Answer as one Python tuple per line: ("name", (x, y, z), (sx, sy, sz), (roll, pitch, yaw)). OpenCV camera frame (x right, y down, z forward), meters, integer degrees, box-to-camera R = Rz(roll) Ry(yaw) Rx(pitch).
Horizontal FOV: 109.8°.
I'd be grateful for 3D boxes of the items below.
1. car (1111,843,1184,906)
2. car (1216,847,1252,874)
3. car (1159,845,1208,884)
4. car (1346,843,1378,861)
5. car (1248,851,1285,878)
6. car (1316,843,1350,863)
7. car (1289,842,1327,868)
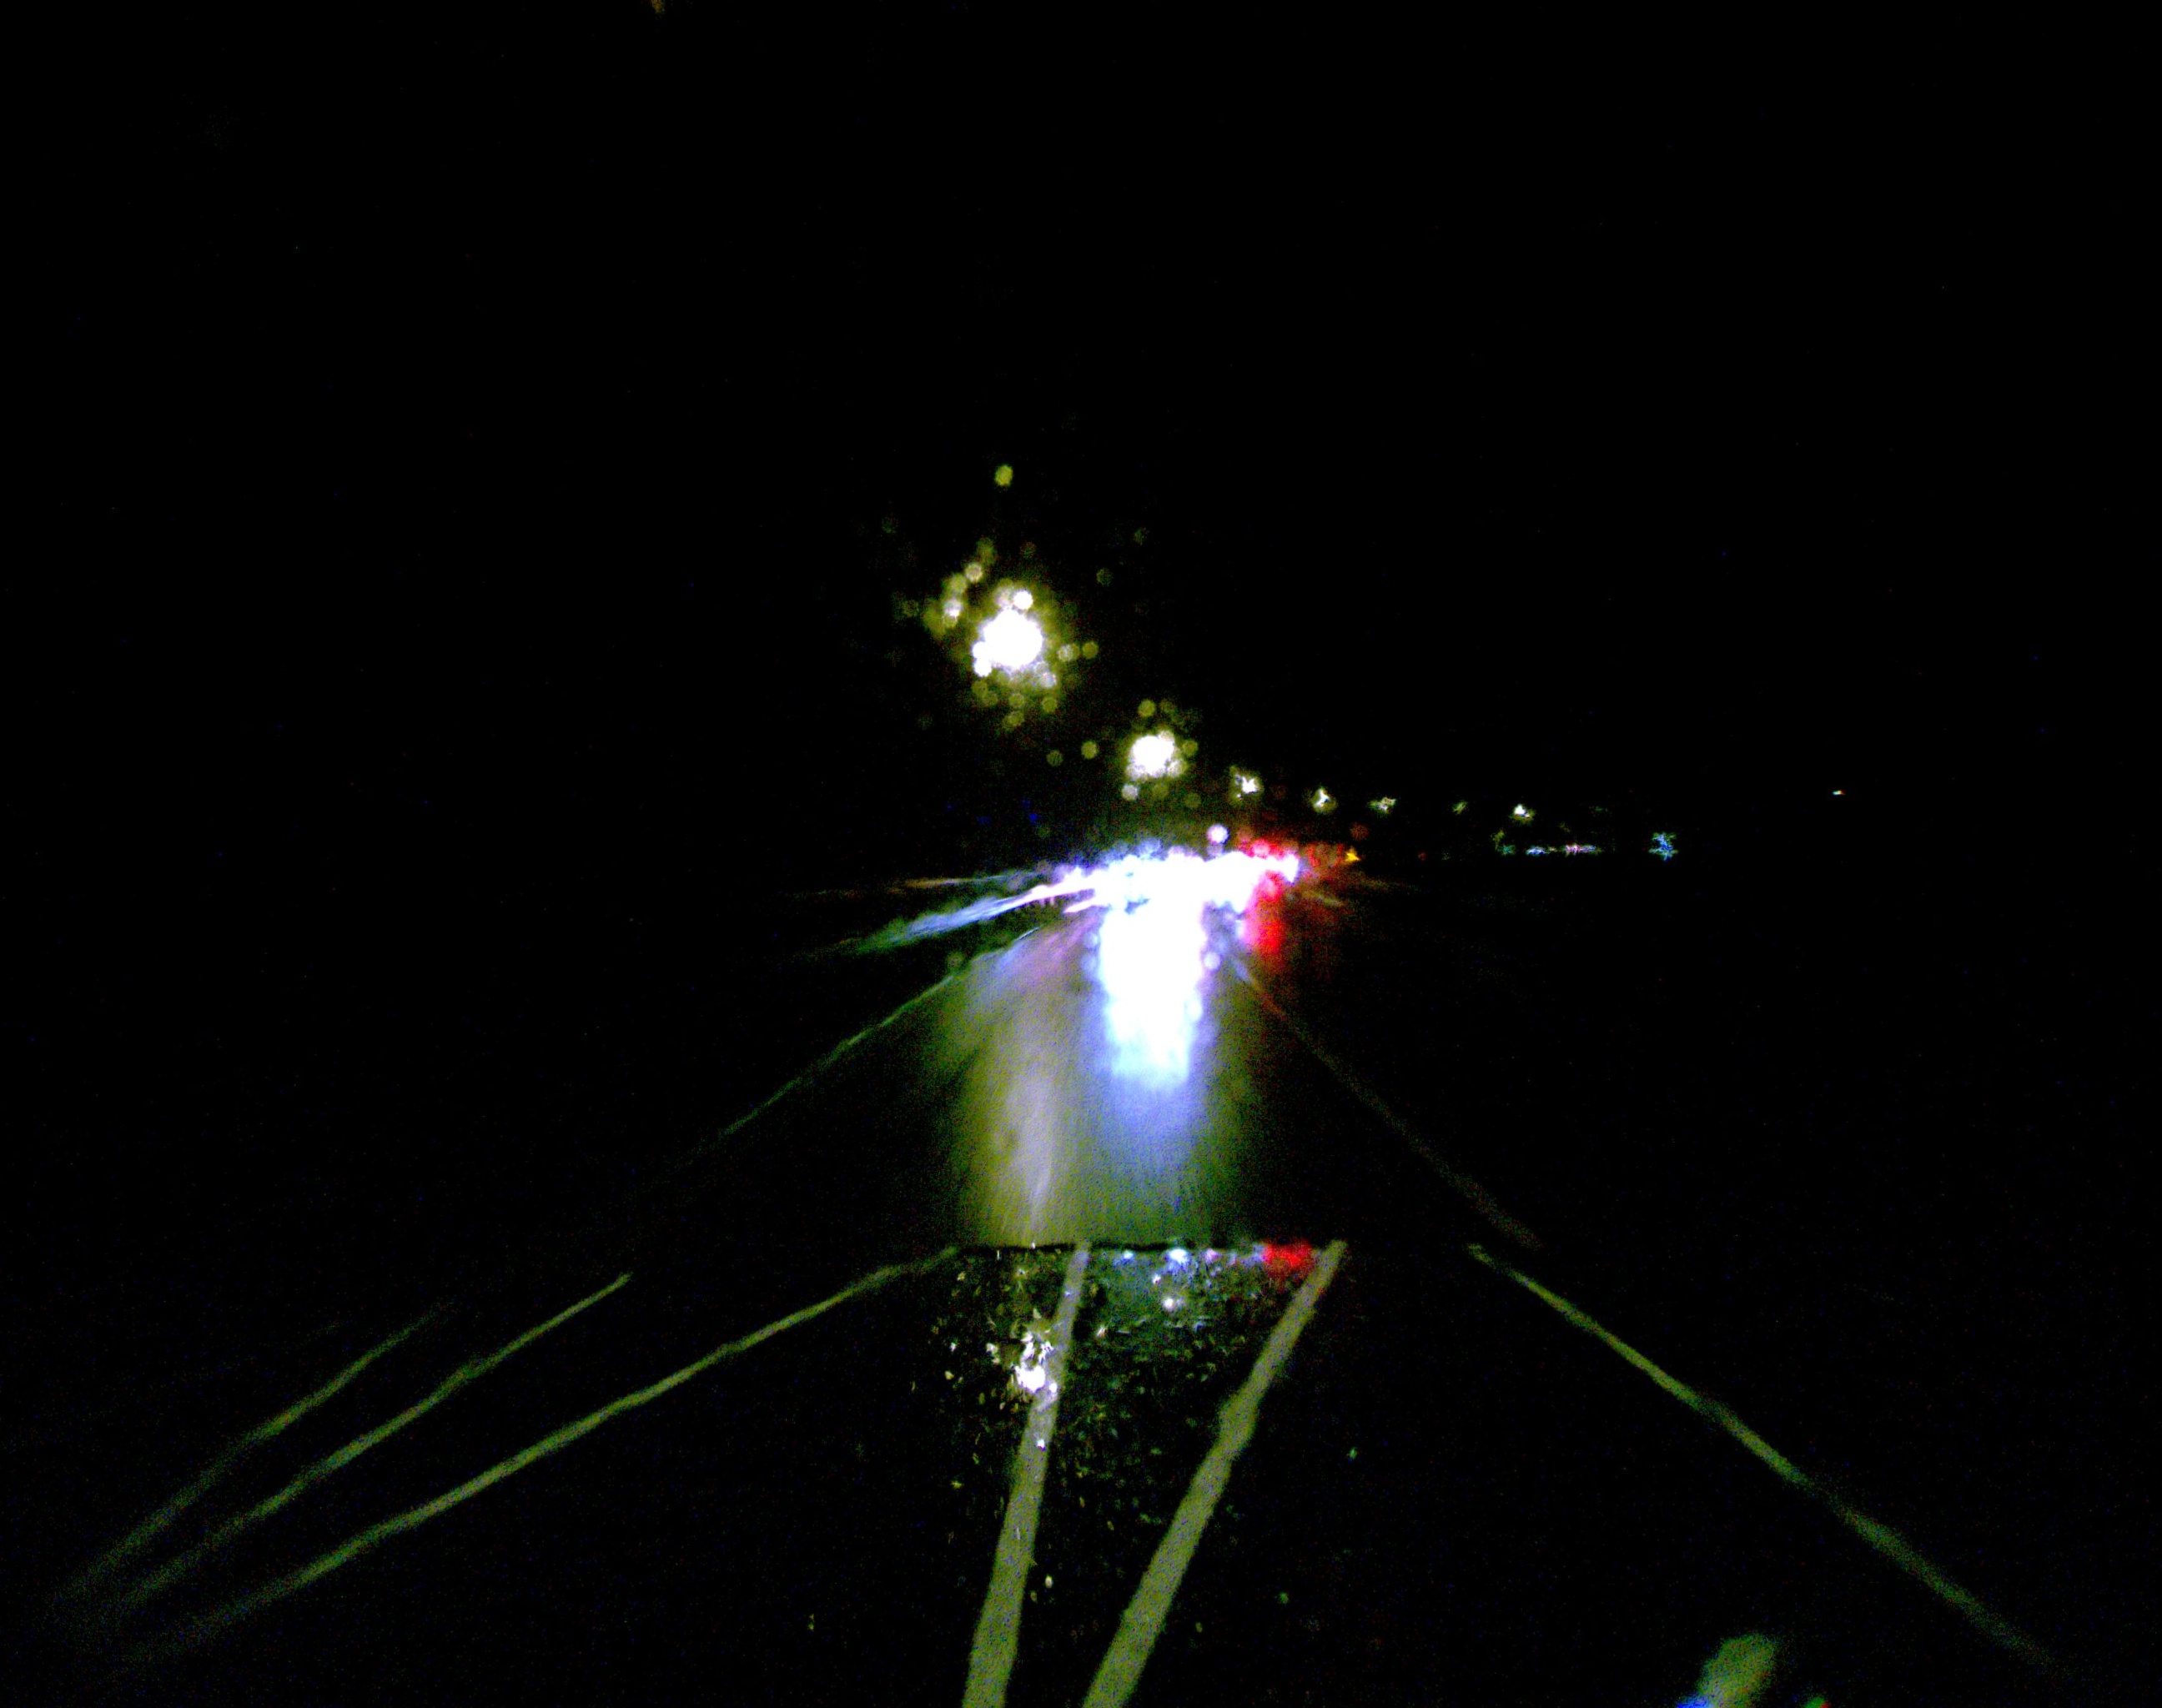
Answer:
("car", (2.252, 0.622, 24.770), (1.935, 1.861, 4.003), (-1, 0, 11))
("car", (11.602, 0.486, 57.434), (1.995, 1.923, 4.006), (-1, 0, 22))
("car", (5.445, 0.516, 40.067), (1.996, 1.923, 4.005), (-1, 0, 16))
("car", (32.285, -0.262, 87.236), (2.374, 1.924, 4.426), (-1, 0, 36))
("car", (10.858, 0.591, 44.625), (1.997, 1.475, 4.004), (-1, 0, 12))
("car", (25.662, -0.087, 77.243), (2.375, 1.924, 4.425), (-1, 0, 31))
("car", (19.845, 0.073, 66.183), (2.375, 2.079, 4.425), (-1, 0, 27))
